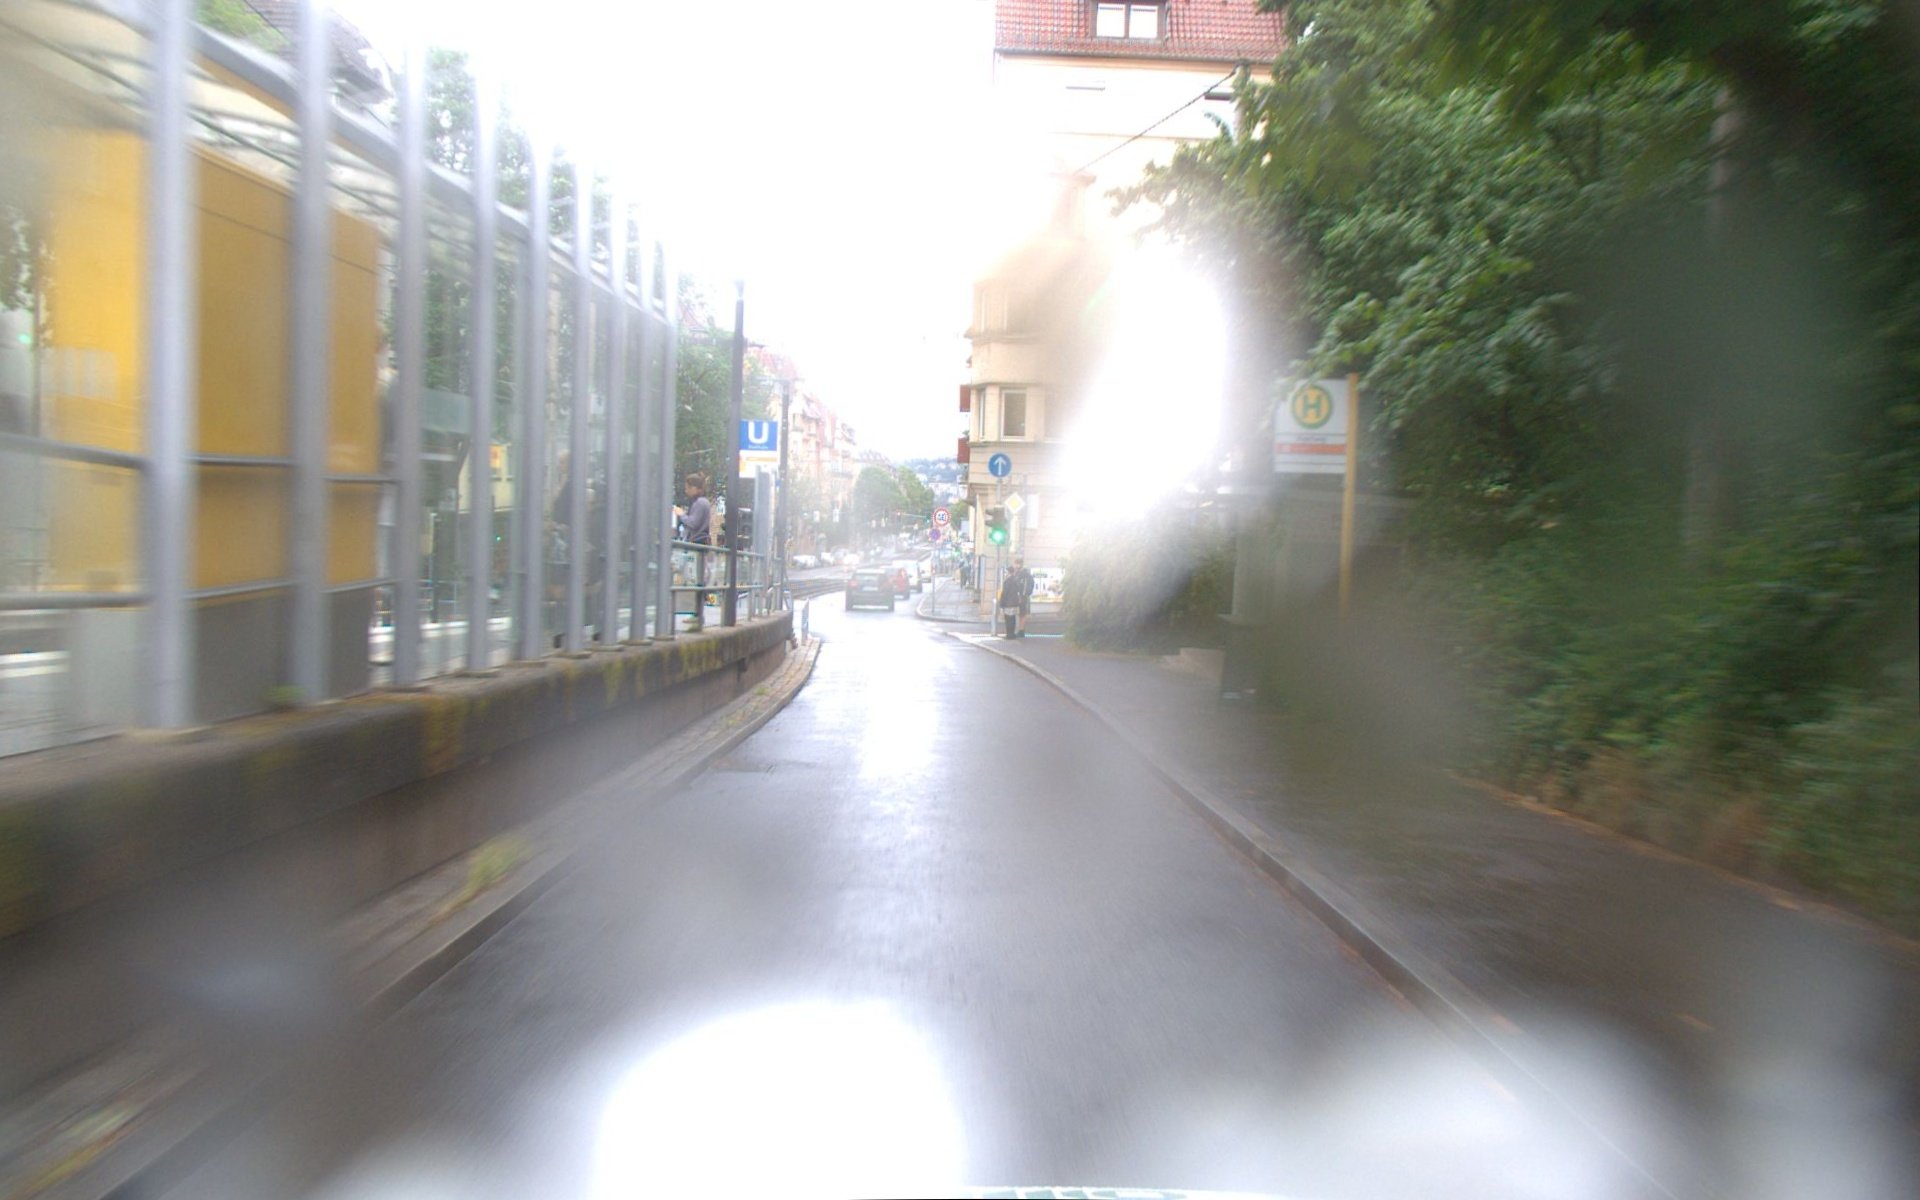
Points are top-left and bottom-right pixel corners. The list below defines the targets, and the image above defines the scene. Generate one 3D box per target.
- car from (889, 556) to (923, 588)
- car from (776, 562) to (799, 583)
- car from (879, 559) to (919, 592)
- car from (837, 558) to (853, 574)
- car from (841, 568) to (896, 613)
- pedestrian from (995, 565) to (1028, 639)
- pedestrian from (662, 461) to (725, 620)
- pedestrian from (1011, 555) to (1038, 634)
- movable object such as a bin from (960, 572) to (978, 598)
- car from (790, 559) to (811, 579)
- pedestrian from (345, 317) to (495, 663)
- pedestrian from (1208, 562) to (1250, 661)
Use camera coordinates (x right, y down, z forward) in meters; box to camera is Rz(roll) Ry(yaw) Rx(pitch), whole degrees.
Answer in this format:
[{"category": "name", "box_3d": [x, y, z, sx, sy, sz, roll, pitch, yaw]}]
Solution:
[{"category": "car", "box_3d": [-3.246, -1.654, 98.970, 1.909, 1.824, 4.142, 2, 0, -2]}, {"category": "car", "box_3d": [-17.557, -2.758, 168.717, 1.953, 2.049, 4.345, 0, 0, -2]}, {"category": "car", "box_3d": [-2.899, -1.165, 79.331, 1.814, 1.499, 3.998, 2, 0, -2]}, {"category": "car", "box_3d": [-15.279, -4.492, 220.386, 1.953, 2.048, 4.346, 1, 1, -2]}, {"category": "car", "box_3d": [-3.255, -0.373, 59.520, 1.814, 1.499, 3.999, 2, 1, -2]}, {"category": "pedestrian", "box_3d": [1.223, 0.048, 39.135, 0.681, 1.724, 0.555, 2, 0, -3]}, {"category": "pedestrian", "box_3d": [-3.192, -0.705, 19.852, 0.577, 1.839, 0.660, 3, 0, -2]}, {"category": "pedestrian", "box_3d": [1.546, -0.136, 39.767, 0.543, 1.845, 0.650, 2, 0, -3]}, {"category": "movable object such as a bin", "box_3d": [0.615, -1.014, 111.084, 1.145, 1.684, 1.308, 0, 1, -4]}, {"category": "car", "box_3d": [-17.243, -3.354, 178.748, 1.953, 2.049, 4.345, 0, 0, -2]}, {"category": "pedestrian", "box_3d": [-3.122, -0.619, 9.612, 0.577, 1.914, 0.711, 2, 0, -2]}, {"category": "pedestrian", "box_3d": [4.956, 0.214, 30.500, 0.590, 1.775, 0.614, 3, 0, -2]}]
